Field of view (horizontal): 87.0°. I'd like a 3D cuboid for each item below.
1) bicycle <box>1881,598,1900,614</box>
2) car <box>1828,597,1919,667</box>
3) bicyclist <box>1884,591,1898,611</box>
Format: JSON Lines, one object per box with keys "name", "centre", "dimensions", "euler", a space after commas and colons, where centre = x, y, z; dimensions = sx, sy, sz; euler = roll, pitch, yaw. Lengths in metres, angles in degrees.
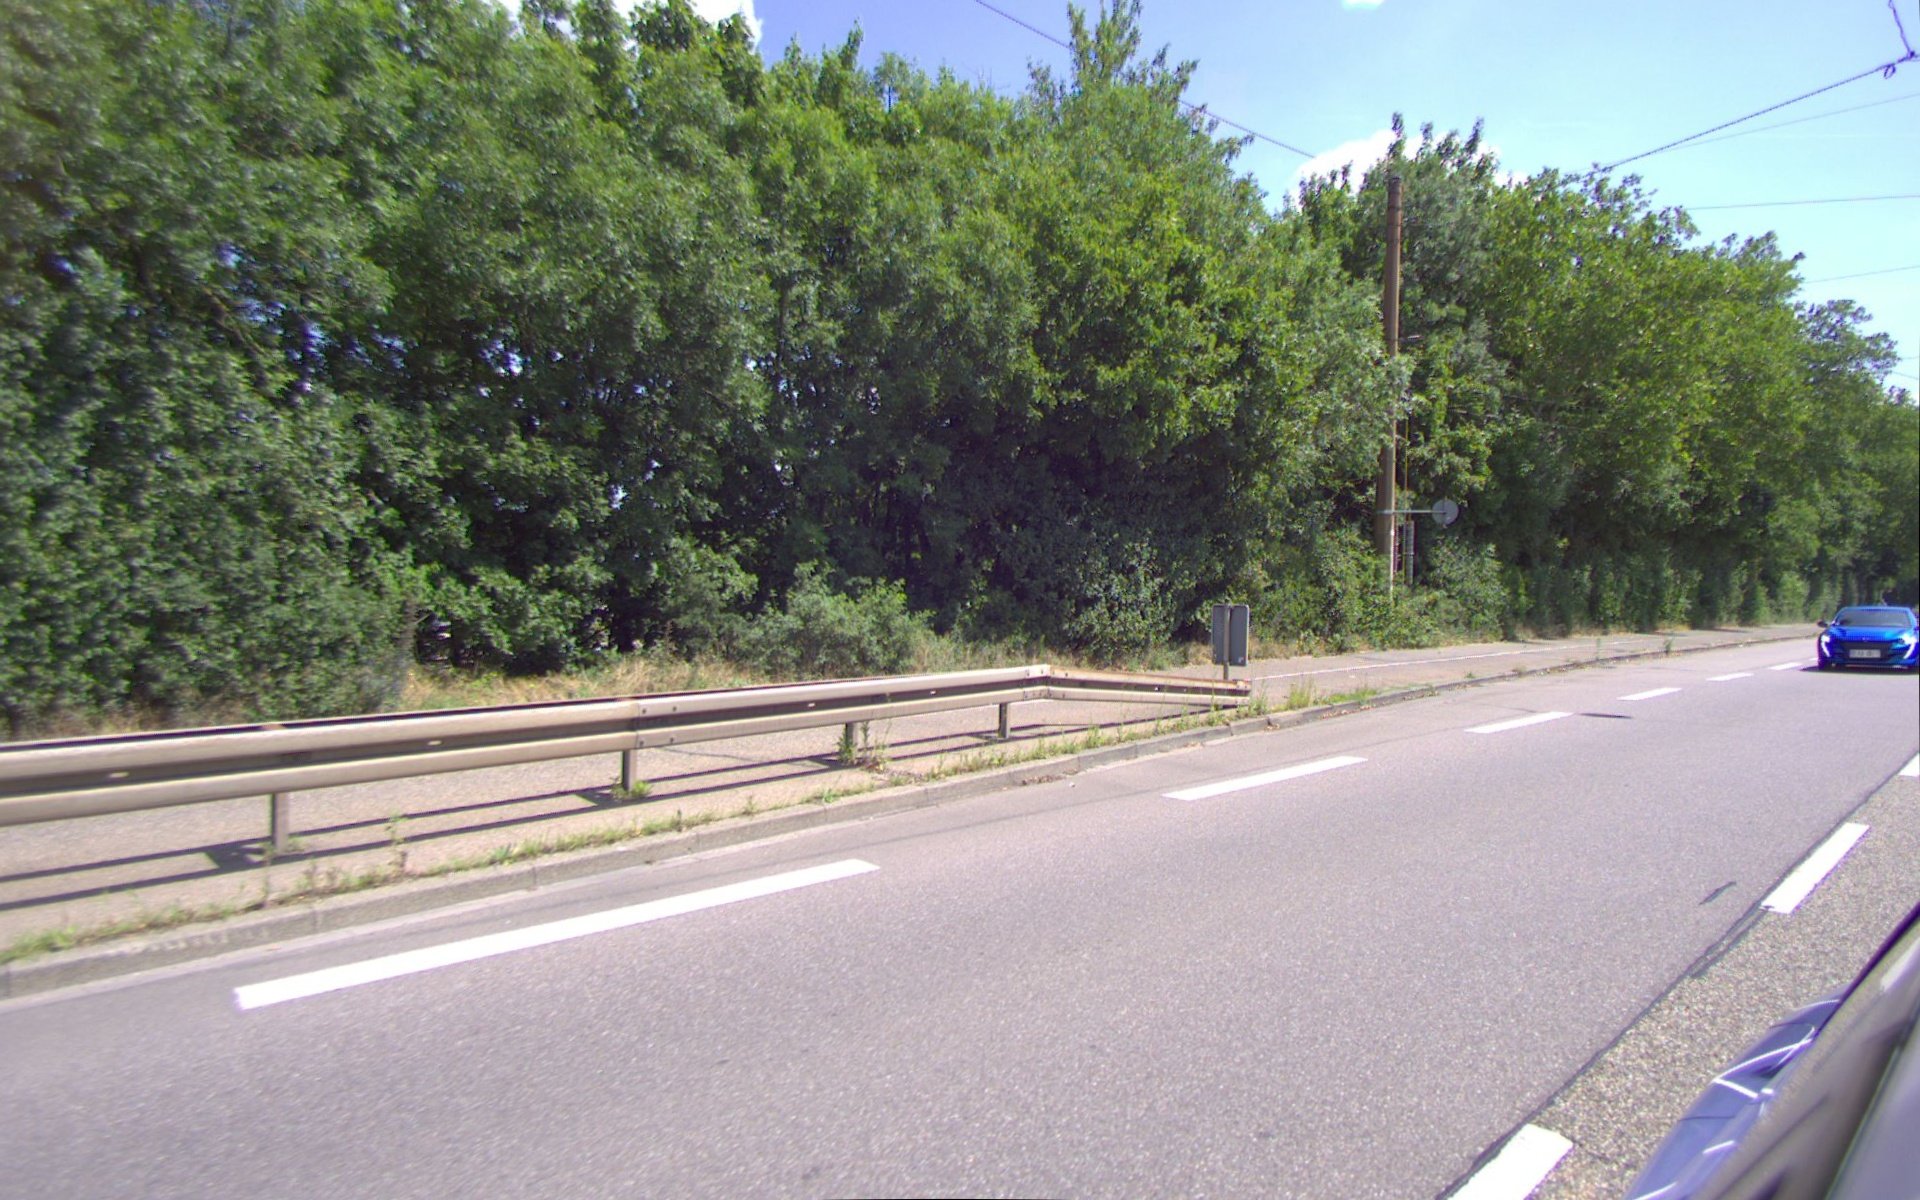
{"name": "bicycle", "centre": [69.587, 0.470, 75.668], "dimensions": [2.493, 1.152, 0.710], "euler": [0, 2, -41]}
{"name": "car", "centre": [20.933, 0.654, 22.828], "dimensions": [3.680, 1.423, 1.658], "euler": [-1, 1, -43]}
{"name": "bicyclist", "centre": [69.535, 0.073, 75.595], "dimensions": [0.630, 1.457, 0.704], "euler": [1, 1, -41]}
